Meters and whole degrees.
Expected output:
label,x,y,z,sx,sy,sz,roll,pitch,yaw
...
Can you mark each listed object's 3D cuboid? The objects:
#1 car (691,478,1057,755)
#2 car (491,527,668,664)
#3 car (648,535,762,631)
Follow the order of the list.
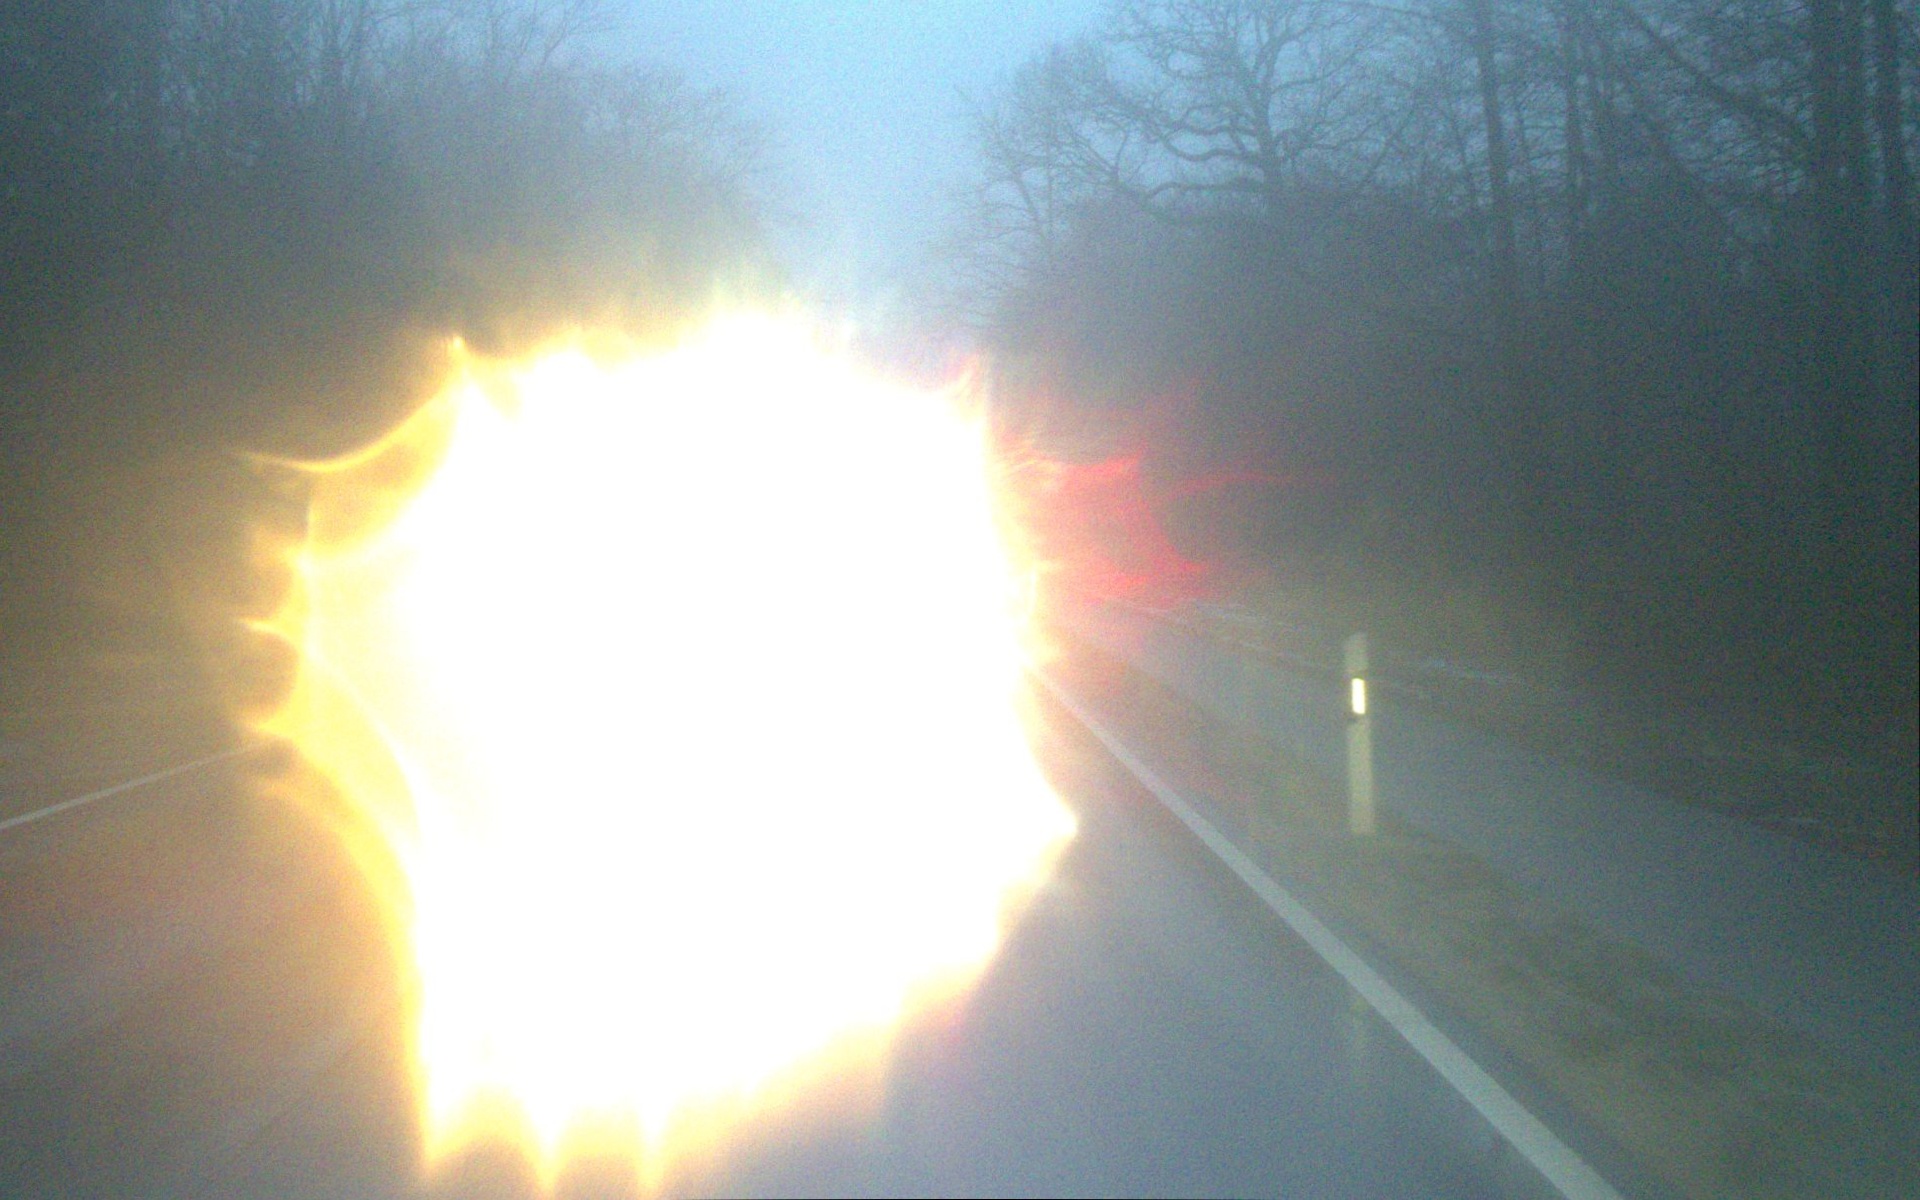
label,x,y,z,sx,sy,sz,roll,pitch,yaw
car,-0.747,0.108,33.496,3.183,2.378,6.636,1,1,0
car,-4.729,-0.082,43.168,1.800,1.595,3.862,-2,1,-1
car,-4.865,-0.356,66.168,1.822,1.643,4.750,-2,2,-1
